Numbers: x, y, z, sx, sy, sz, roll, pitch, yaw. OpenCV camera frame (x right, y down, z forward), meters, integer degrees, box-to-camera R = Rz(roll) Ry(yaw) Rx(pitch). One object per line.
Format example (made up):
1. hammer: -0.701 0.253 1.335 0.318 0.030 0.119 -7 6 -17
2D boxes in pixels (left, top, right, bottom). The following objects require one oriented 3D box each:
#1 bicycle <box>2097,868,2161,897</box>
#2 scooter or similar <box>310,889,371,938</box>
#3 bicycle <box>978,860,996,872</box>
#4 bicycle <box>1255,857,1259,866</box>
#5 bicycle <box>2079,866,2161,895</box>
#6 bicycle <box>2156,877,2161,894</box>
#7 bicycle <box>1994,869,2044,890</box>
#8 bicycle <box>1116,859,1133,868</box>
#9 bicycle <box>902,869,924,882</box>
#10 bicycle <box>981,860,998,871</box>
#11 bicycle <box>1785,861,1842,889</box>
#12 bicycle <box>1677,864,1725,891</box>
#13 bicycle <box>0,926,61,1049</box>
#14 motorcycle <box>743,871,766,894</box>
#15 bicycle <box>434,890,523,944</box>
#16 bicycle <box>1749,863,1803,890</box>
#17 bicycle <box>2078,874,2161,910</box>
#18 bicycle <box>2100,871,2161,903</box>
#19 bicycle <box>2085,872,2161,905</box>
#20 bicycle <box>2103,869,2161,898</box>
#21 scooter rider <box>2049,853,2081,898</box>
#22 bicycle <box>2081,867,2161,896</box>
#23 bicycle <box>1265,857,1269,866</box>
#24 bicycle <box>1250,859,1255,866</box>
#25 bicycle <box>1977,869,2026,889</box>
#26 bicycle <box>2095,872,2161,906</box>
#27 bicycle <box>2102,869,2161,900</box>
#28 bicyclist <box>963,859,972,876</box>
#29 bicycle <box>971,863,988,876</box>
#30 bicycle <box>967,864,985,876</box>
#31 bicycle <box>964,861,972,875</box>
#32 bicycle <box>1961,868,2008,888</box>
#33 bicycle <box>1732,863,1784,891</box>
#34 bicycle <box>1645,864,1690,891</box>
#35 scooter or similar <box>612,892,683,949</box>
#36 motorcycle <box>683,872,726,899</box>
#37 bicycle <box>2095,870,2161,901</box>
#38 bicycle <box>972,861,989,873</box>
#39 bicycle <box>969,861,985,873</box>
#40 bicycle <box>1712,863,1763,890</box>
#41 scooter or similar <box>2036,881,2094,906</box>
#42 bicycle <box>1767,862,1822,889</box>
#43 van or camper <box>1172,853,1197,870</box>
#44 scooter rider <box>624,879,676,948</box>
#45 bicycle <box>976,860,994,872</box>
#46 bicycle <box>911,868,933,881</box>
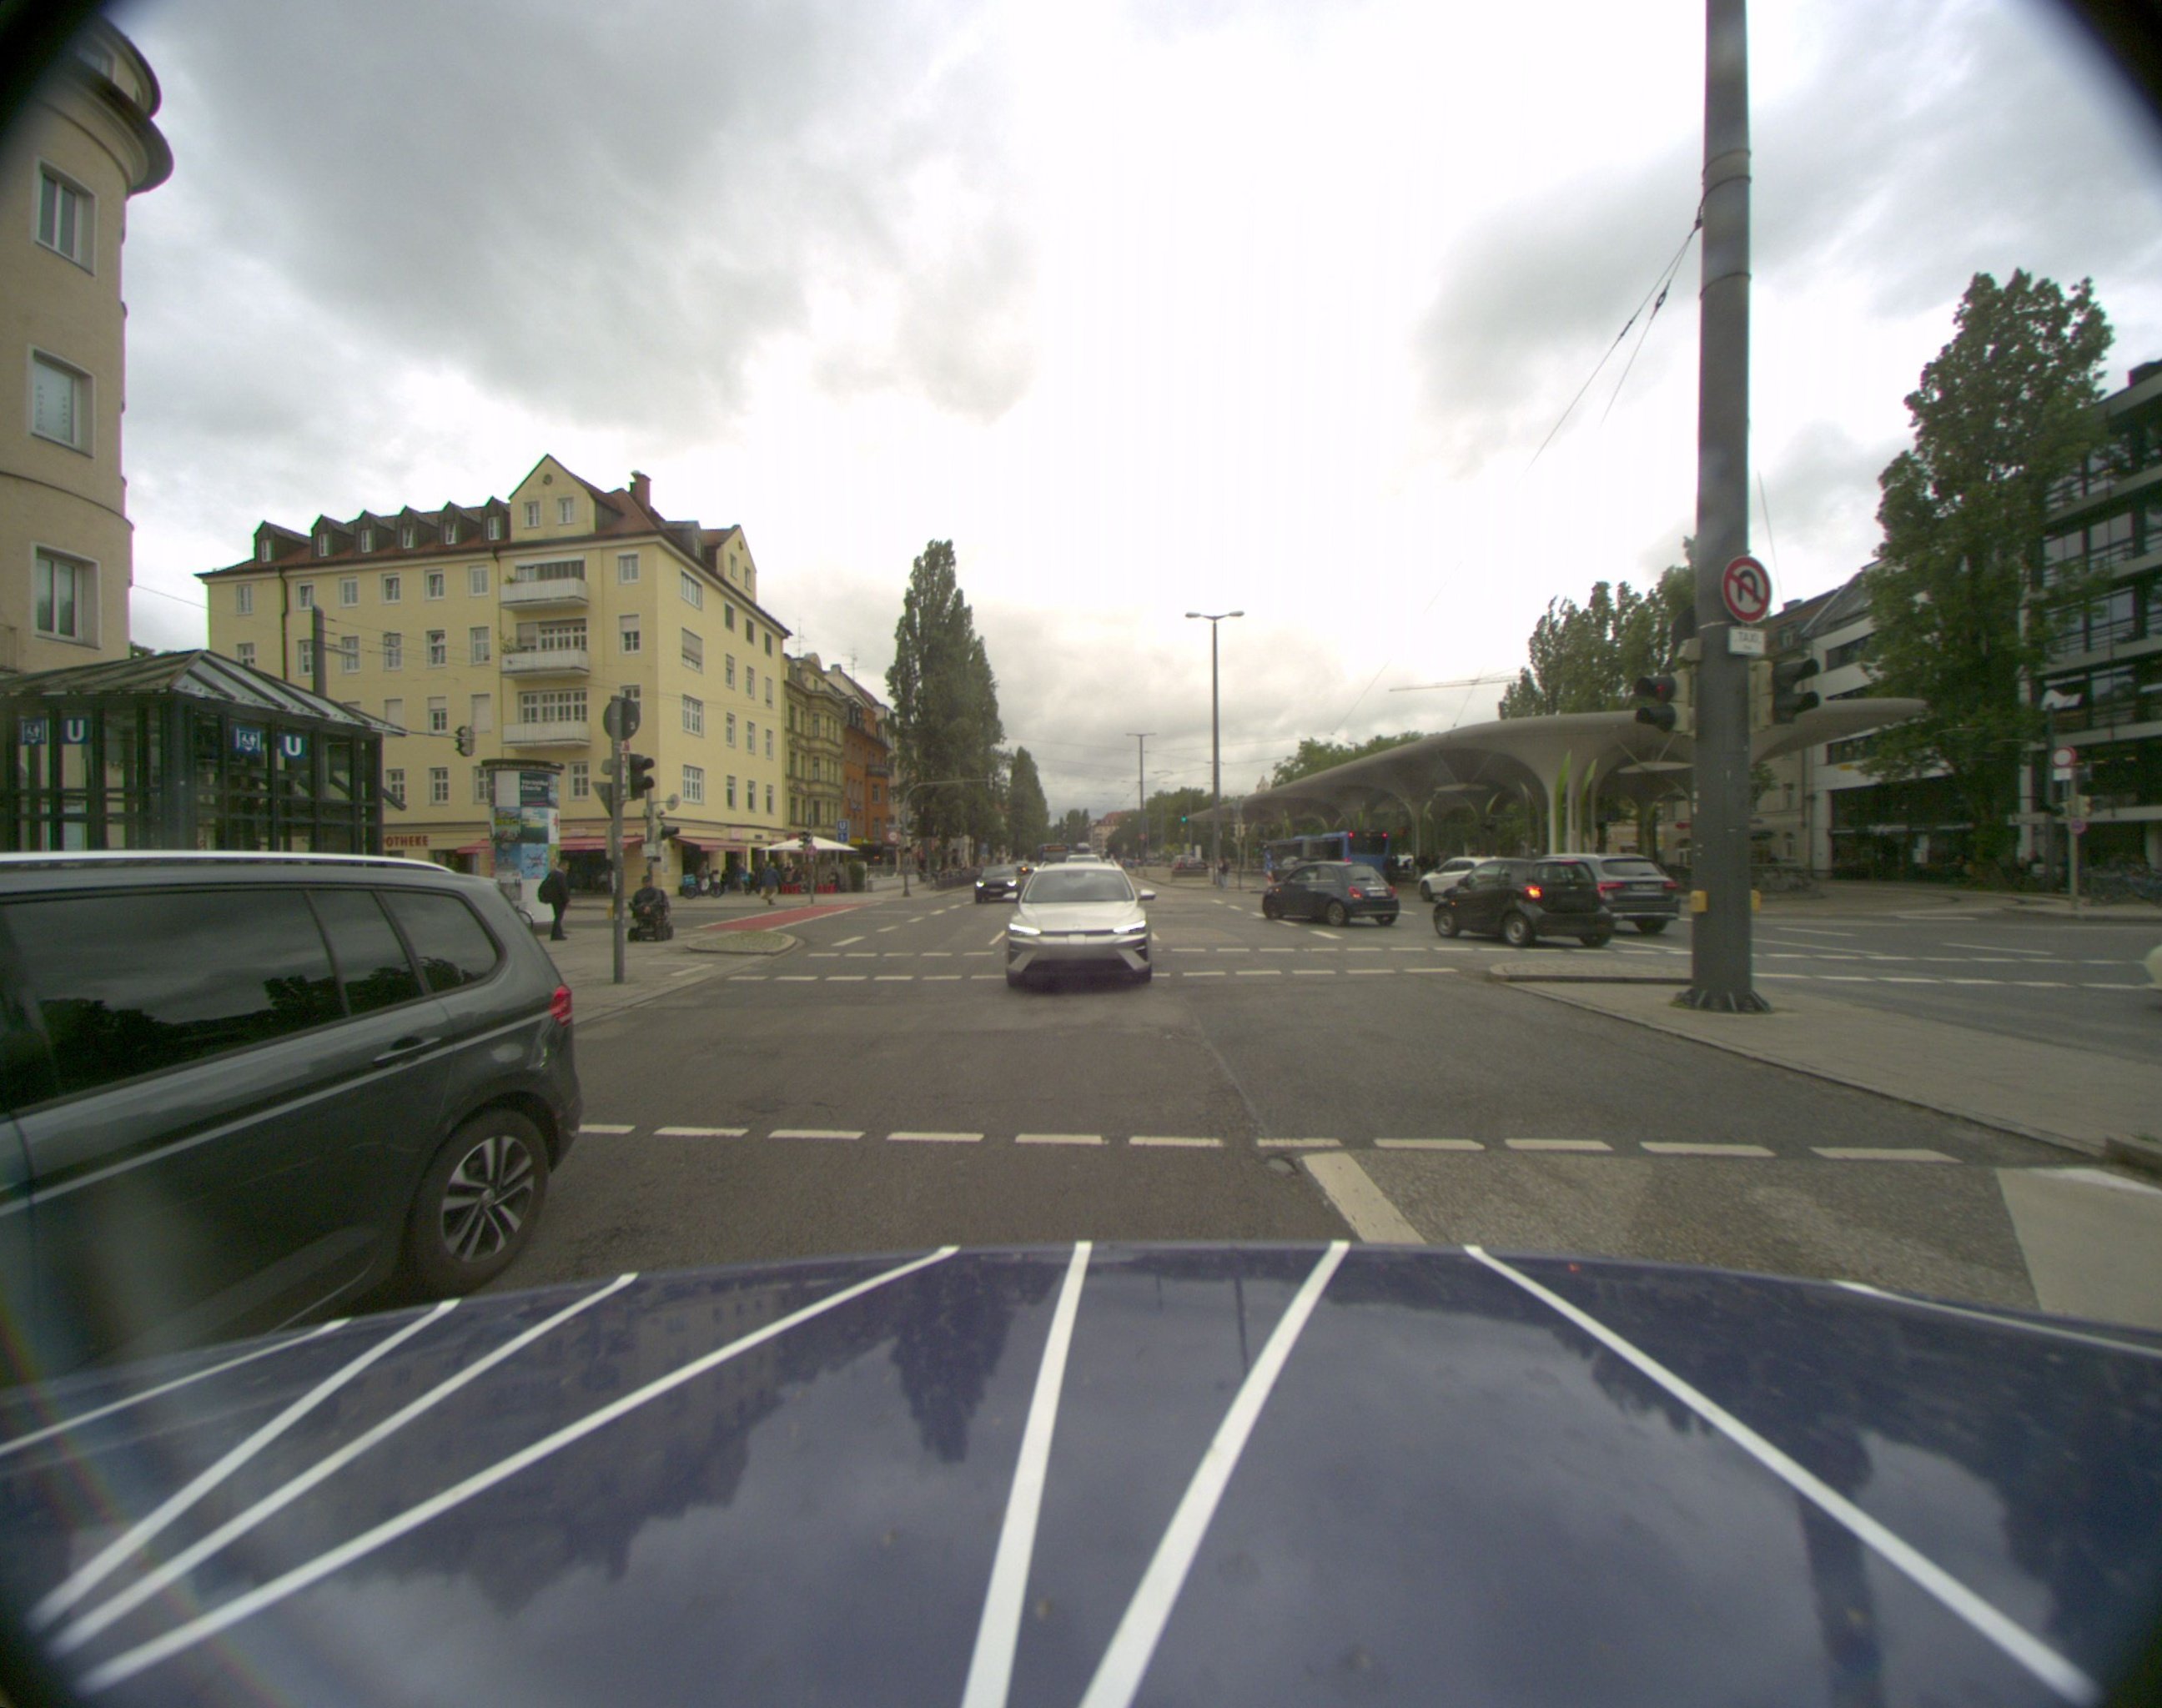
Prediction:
1. bicycle: 35.455 0.944 25.389 1.726 0.934 0.456 1 2 44
2. scooter or similar: -15.353 1.234 15.763 0.820 0.988 0.594 -1 -3 23
3. bicycle: -8.350 1.051 67.421 1.837 0.990 0.376 -3 -1 37
4. bicycle: 23.684 1.000 102.457 0.479 1.090 1.851 -1 0 11
5. bicycle: 36.155 0.910 26.407 1.726 0.934 0.456 0 2 34
6. bicycle: 41.734 1.198 28.592 1.631 0.629 0.363 0 0 15
7. bicycle: 43.093 1.169 34.915 1.827 0.921 0.450 -1 0 -2
8. bicycle: 5.642 1.212 97.815 2.235 1.143 0.505 -2 1 -29
9. bicycle: -14.080 1.773 63.642 1.725 1.039 0.388 -2 -1 11
10. bicycle: -8.432 1.057 70.049 1.837 0.989 0.376 -3 -1 42
11. bicycle: 31.358 0.881 32.553 0.654 1.111 2.184 -1 0 10
12. bicycle: 27.248 1.017 33.444 0.654 1.111 2.184 -1 0 10
13. bicycle: -10.855 1.255 7.122 1.842 1.088 0.509 0 0 -1
14. motorcycle: -16.932 1.468 39.440 0.487 1.149 1.571 -1 0 1
15. bicycle: -13.307 1.386 16.797 1.572 1.153 0.525 0 -1 3
16. bicycle: 30.018 0.949 32.855 0.654 1.111 2.184 -1 0 10
17. bicycle: 30.232 1.081 21.897 0.455 0.934 1.728 -1 1 -20
18. bicycle: 33.475 1.042 23.857 0.456 0.934 1.726 -2 2 -40
19. bicycle: 32.396 1.042 23.388 0.455 0.934 1.728 -1 1 -21
20. bicycle: 34.974 0.968 24.869 1.726 0.934 0.456 1 2 42
21. scooter rider: 40.015 0.860 30.892 0.608 1.828 0.556 0 0 25
22. bicycle: 35.611 0.937 25.938 1.726 0.934 0.456 1 2 44
23. bicycle: 25.012 1.015 102.239 0.479 1.090 1.851 -1 0 14
24. bicycle: 23.141 1.098 102.567 0.479 0.889 1.850 -1 0 8
25. bicycle: 43.048 1.172 35.546 1.827 0.921 0.450 -1 0 -2
26. bicycle: 32.082 1.057 22.916 0.455 0.934 1.728 -1 1 -19
27. bicycle: 34.519 0.990 24.565 1.726 0.934 0.456 1 2 42
28. bicyclist: -10.336 1.233 69.189 0.681 1.594 0.939 -1 0 0
29. bicycle: -8.361 1.305 62.691 0.326 0.989 1.837 -1 -1 -43
30. bicycle: -8.490 1.310 61.597 1.837 0.989 0.326 -3 -1 43
31. bicycle: -10.288 1.280 69.099 0.424 1.280 1.778 -1 0 1
32. bicycle: 43.200 1.166 36.334 1.827 0.921 0.450 -1 0 -2
33. bicycle: 29.360 0.982 32.994 0.654 1.111 2.184 -1 0 10
34. bicycle: 25.857 1.001 33.548 0.642 1.118 2.167 -1 0 9
35. scooter or similar: -8.999 1.356 15.824 0.777 1.069 1.256 -1 0 -2
36. motorcycle: -17.741 1.488 35.825 1.769 1.193 0.541 -1 1 -30
37. bicycle: 33.944 1.019 24.316 1.726 0.934 0.456 1 2 42
38. bicycle: -8.450 1.071 63.721 1.837 0.989 0.326 -3 -1 43
39. bicycle: -8.656 1.082 63.415 0.326 0.989 1.837 -1 -1 -42
40. bicycle: 28.611 0.948 33.137 0.654 1.111 2.184 -1 0 10
41. scooter or similar: 39.967 1.598 30.870 1.400 0.976 0.415 -1 0 25
42. bicycle: 30.663 0.916 32.702 0.654 1.111 2.184 -1 0 10
43. van or camper: 11.499 0.788 84.711 1.933 1.815 5.439 -1 0 -2
44. scooter rider: -8.947 1.218 15.797 0.702 1.381 0.643 -1 0 -2
45. bicycle: -8.407 1.053 66.674 1.837 0.990 0.376 -3 -1 37
46. bicycle: -13.162 1.726 62.783 1.728 1.039 0.387 -1 -1 -6
